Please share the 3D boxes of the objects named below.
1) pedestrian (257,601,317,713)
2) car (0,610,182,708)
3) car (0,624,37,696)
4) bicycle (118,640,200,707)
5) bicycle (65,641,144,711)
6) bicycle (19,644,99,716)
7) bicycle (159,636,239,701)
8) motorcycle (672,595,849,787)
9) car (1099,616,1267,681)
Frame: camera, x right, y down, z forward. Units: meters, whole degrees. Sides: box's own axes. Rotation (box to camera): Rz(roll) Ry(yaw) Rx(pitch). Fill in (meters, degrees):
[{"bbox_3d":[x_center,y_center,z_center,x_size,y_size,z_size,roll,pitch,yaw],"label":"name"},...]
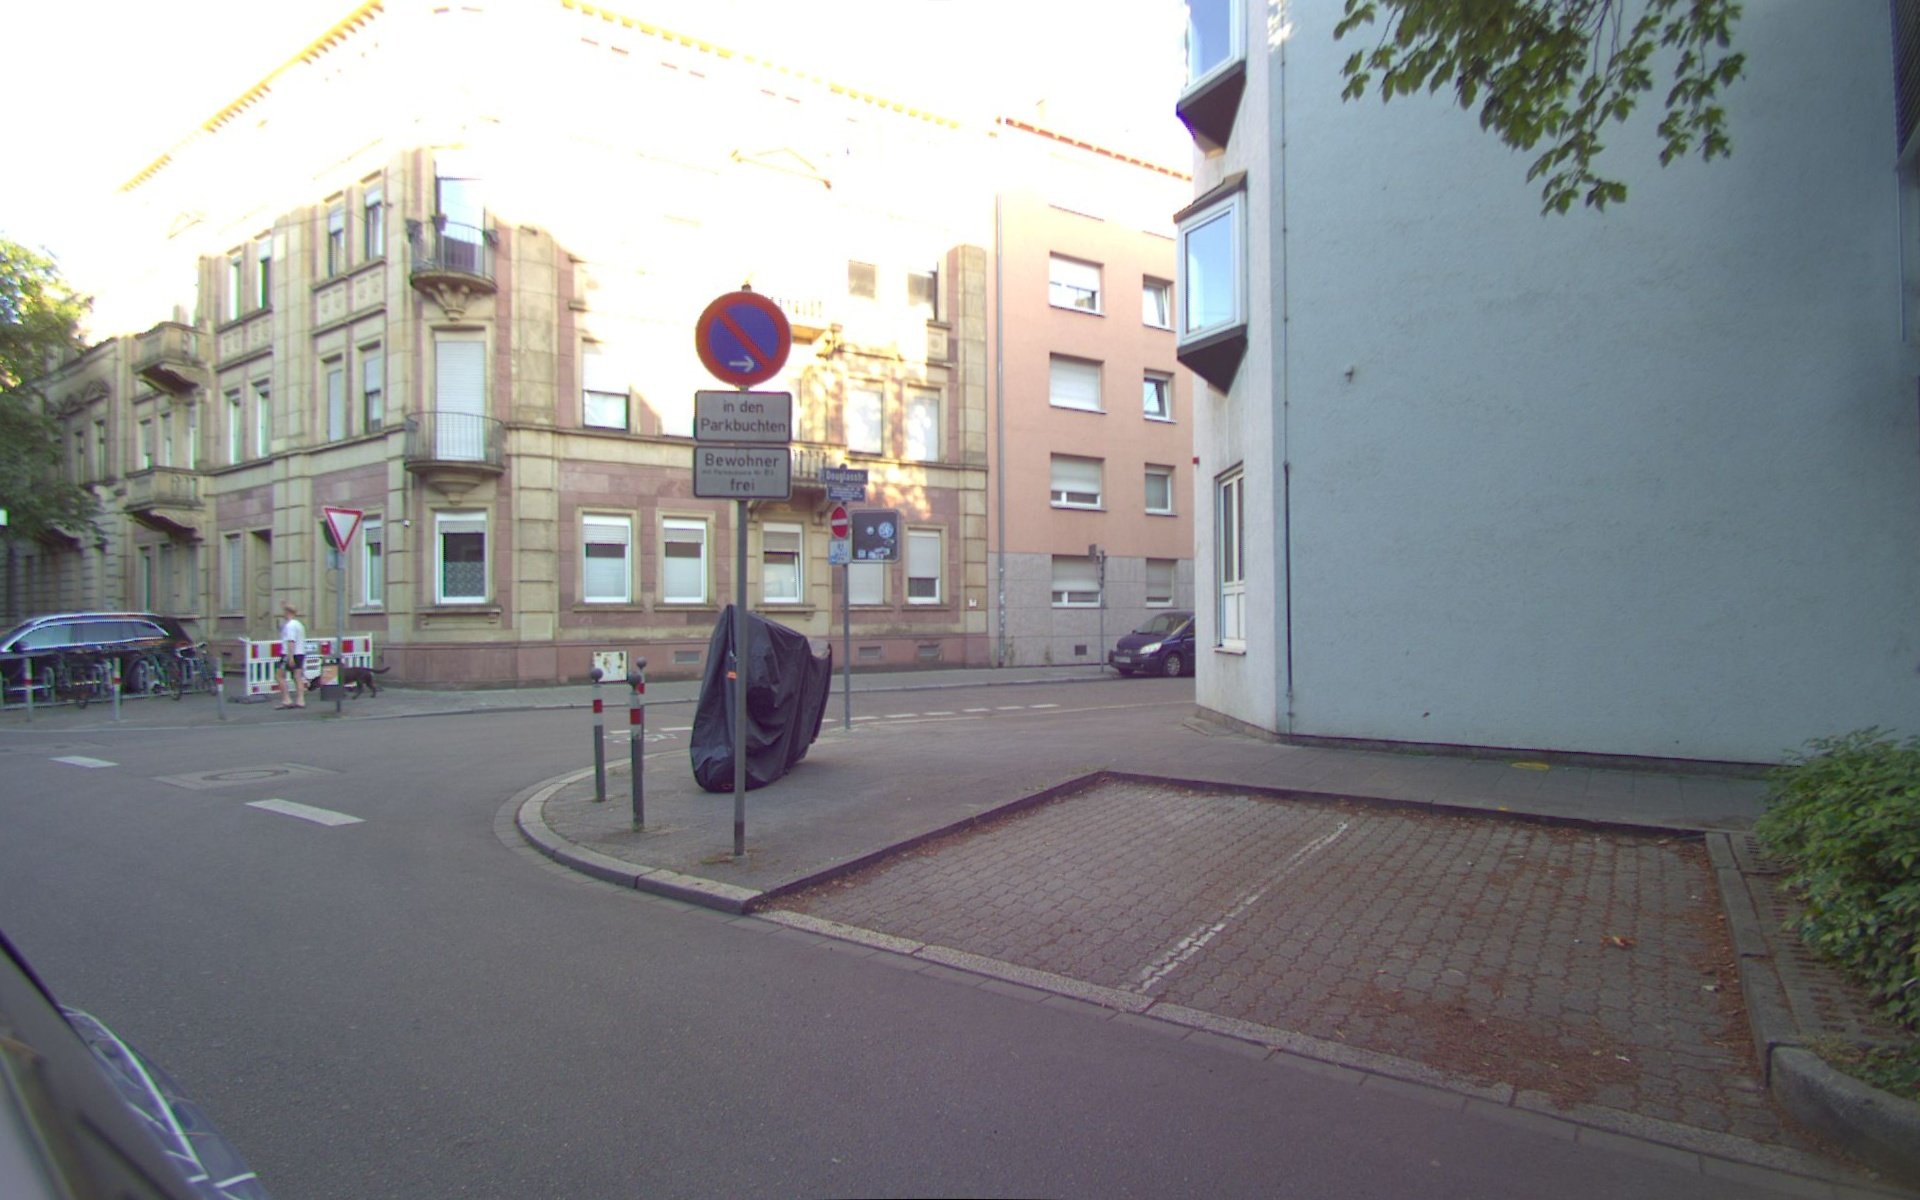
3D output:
[{"bbox_3d":[-11.244,0.938,16.917,0.645,1.821,0.570,-1,-1,17],"label":"pedestrian"},{"bbox_3d":[-17.905,1.098,19.469,1.740,1.795,4.368,-1,-2,38],"label":"car"},{"bbox_3d":[-24.302,1.417,23.393,1.740,1.690,4.190,-1,-2,39],"label":"car"},{"bbox_3d":[-14.797,1.331,18.681,2.033,1.159,0.556,-1,-1,33],"label":"bicycle"},{"bbox_3d":[-15.269,1.329,18.053,2.034,1.159,0.555,-1,-1,34],"label":"bicycle"},{"bbox_3d":[-15.622,1.352,17.523,2.034,1.159,0.555,-1,-1,34],"label":"bicycle"},{"bbox_3d":[-14.443,1.270,19.184,2.033,1.159,0.556,-1,-1,33],"label":"bicycle"},{"bbox_3d":[-1.724,0.745,9.200,0.809,1.516,2.276,-1,-1,10],"label":"motorcycle"},{"bbox_3d":[5.741,1.172,25.849,4.297,1.529,1.789,1,-2,-36],"label":"car"}]
